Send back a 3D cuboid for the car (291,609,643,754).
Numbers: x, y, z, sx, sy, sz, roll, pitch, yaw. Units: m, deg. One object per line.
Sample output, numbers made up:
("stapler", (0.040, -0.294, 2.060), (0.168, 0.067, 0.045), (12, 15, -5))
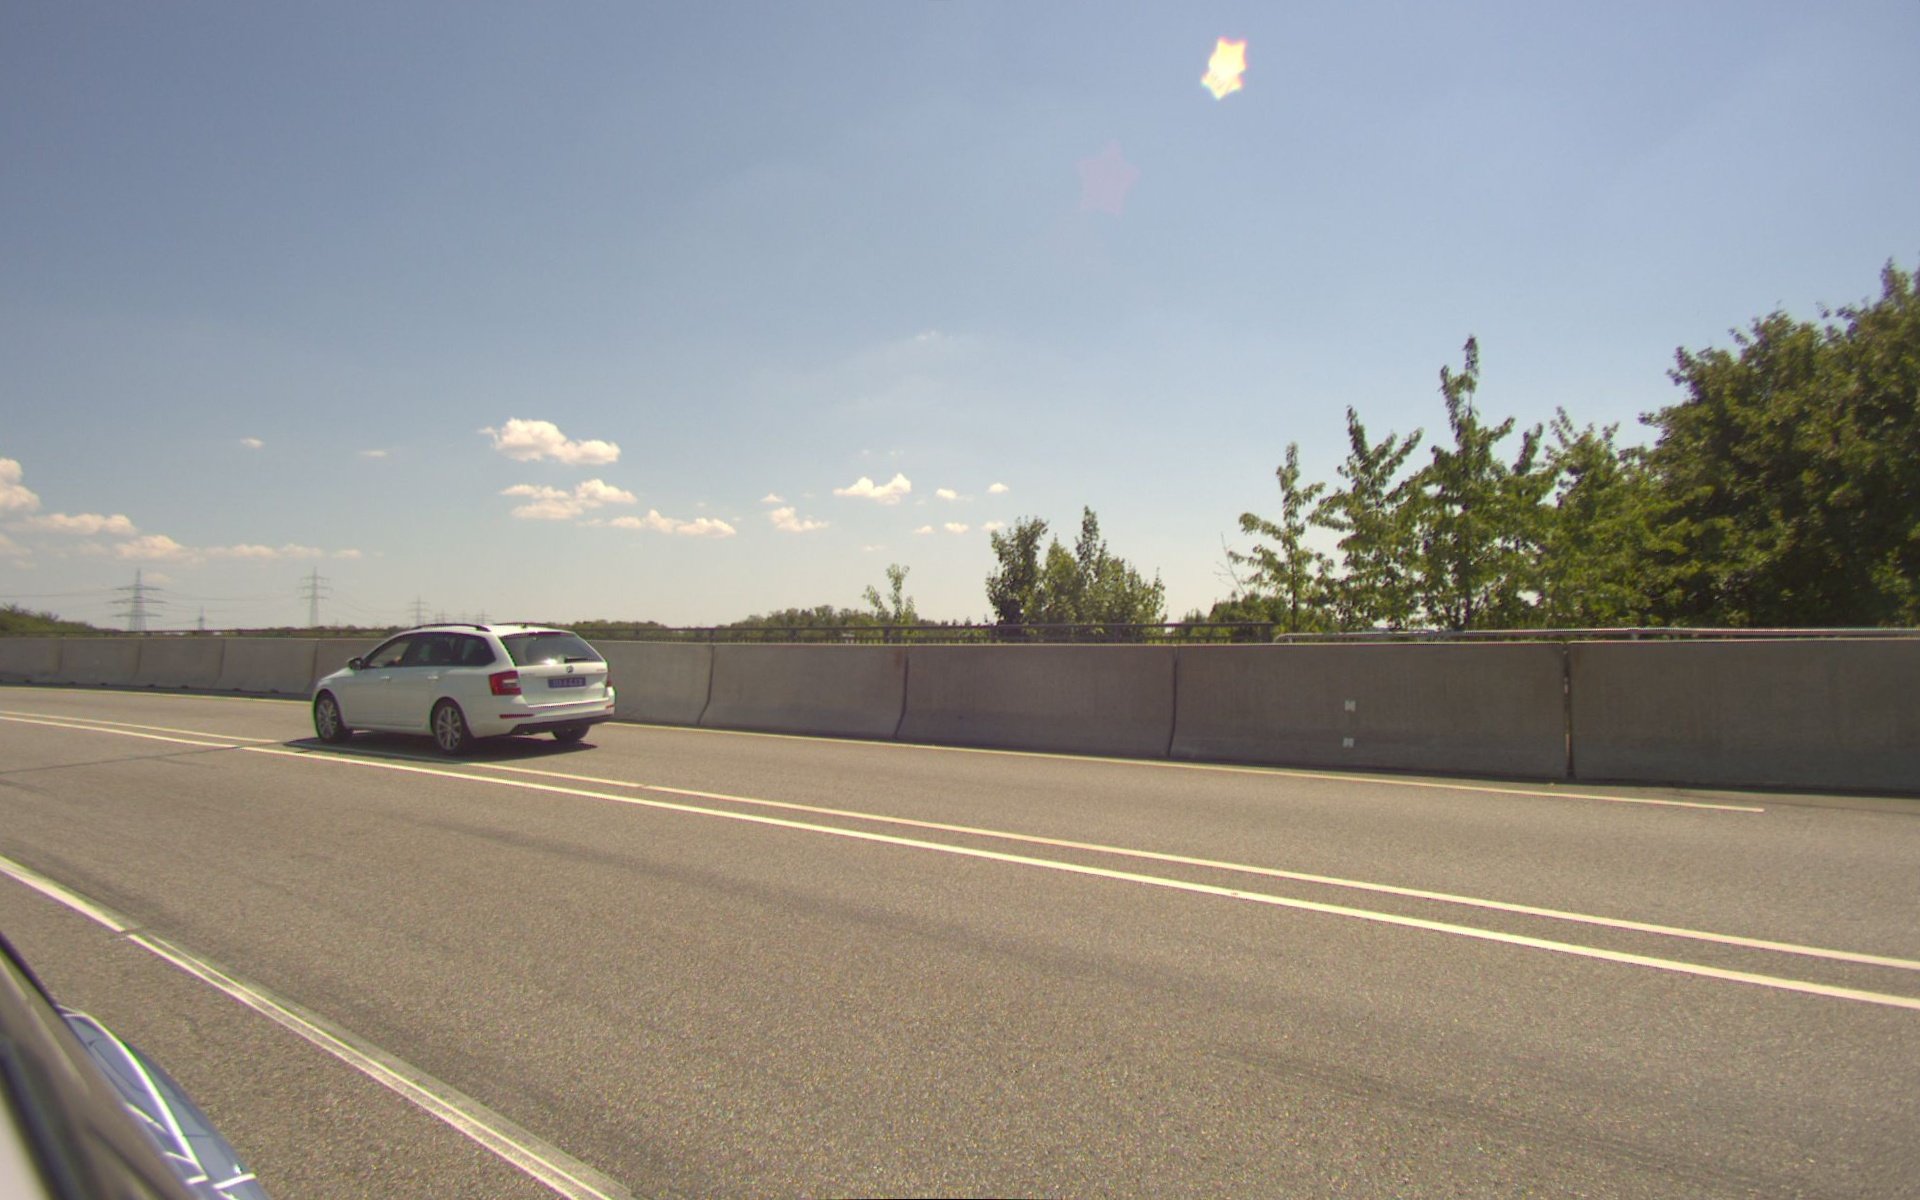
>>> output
("car", (-6.166, 0.941, 12.503), (4.536, 1.507, 1.774), (-2, -3, 32))
